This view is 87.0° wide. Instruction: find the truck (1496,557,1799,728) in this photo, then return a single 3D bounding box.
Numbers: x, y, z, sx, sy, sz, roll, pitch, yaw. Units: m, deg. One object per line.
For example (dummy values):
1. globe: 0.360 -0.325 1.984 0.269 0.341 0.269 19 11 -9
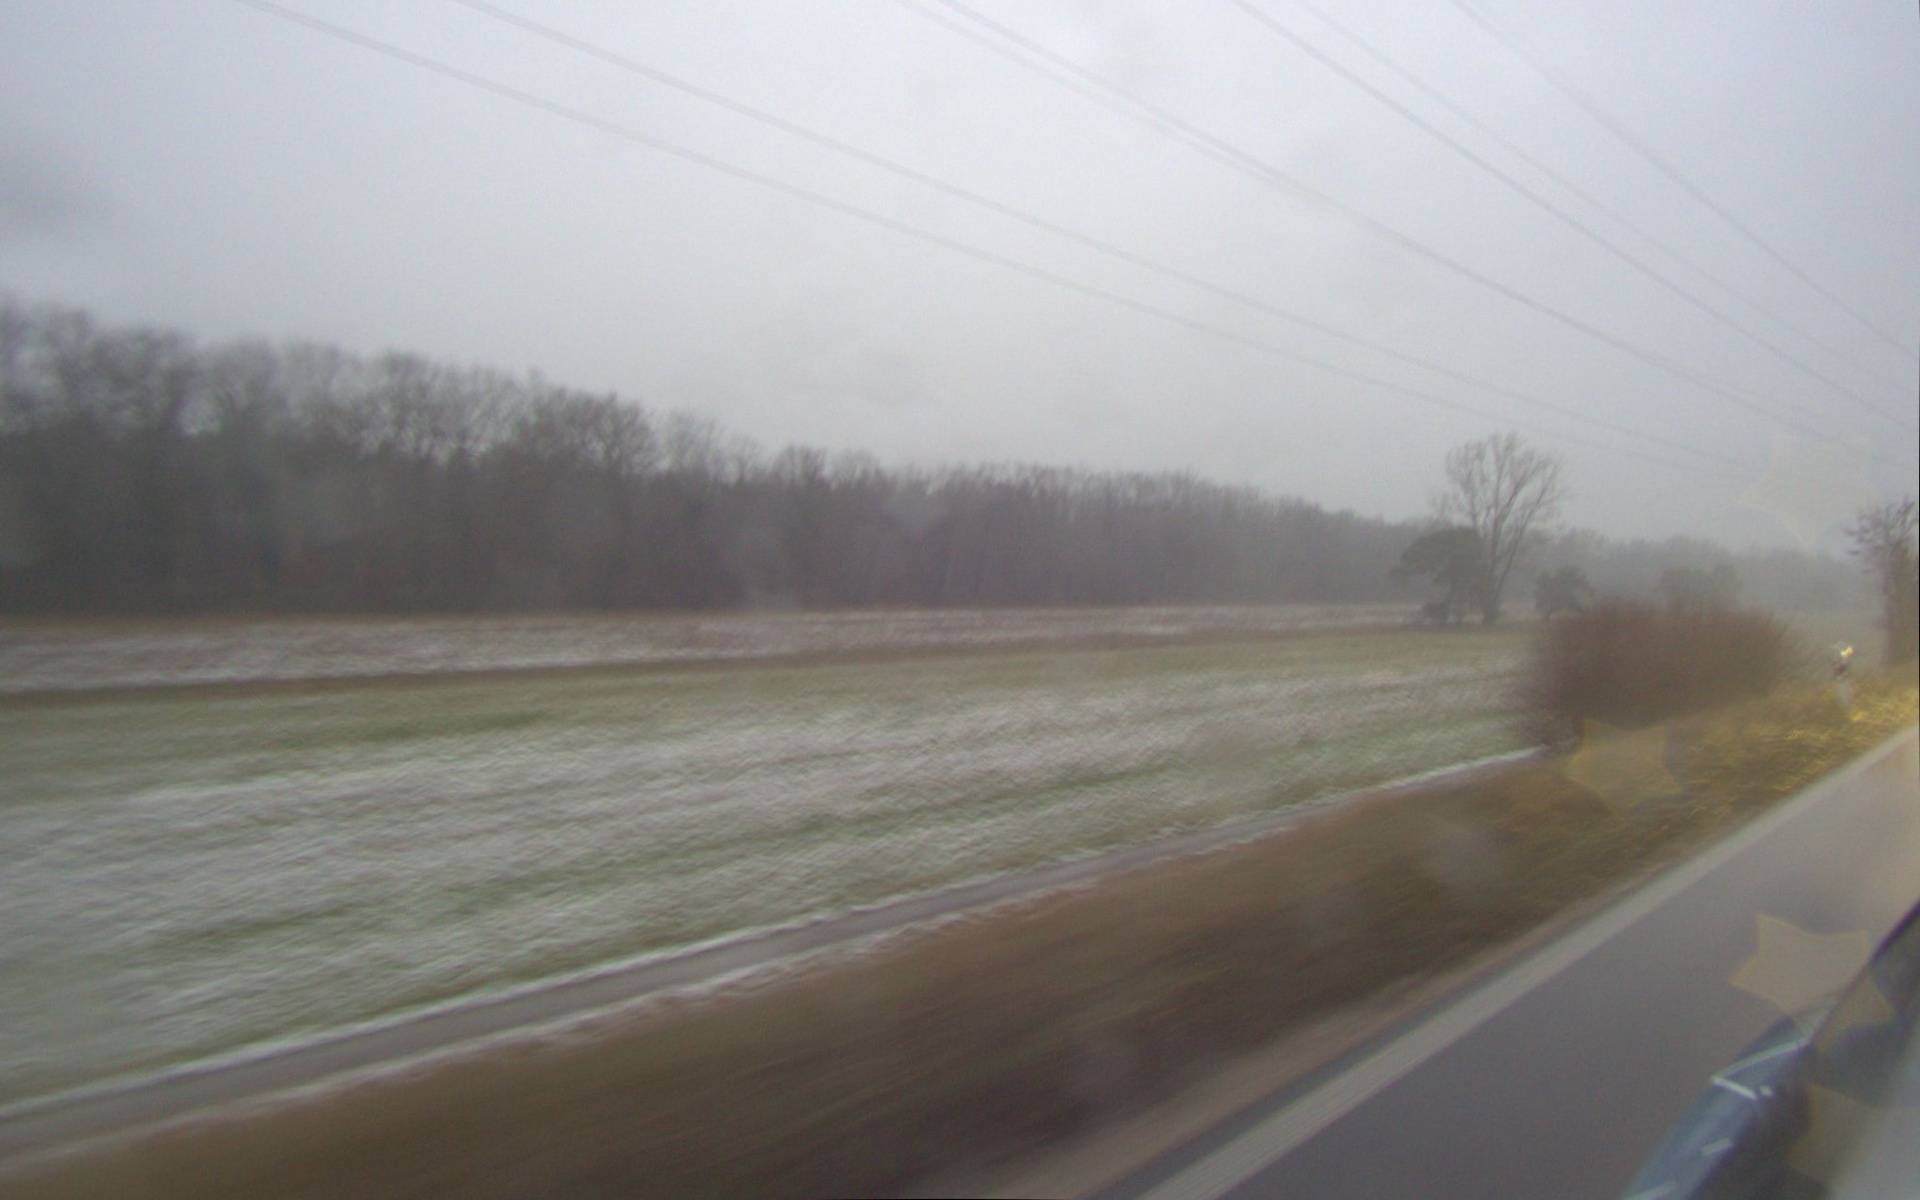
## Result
1. truck: 13.964 0.623 19.980 10.620 2.603 2.507 0 0 -42
